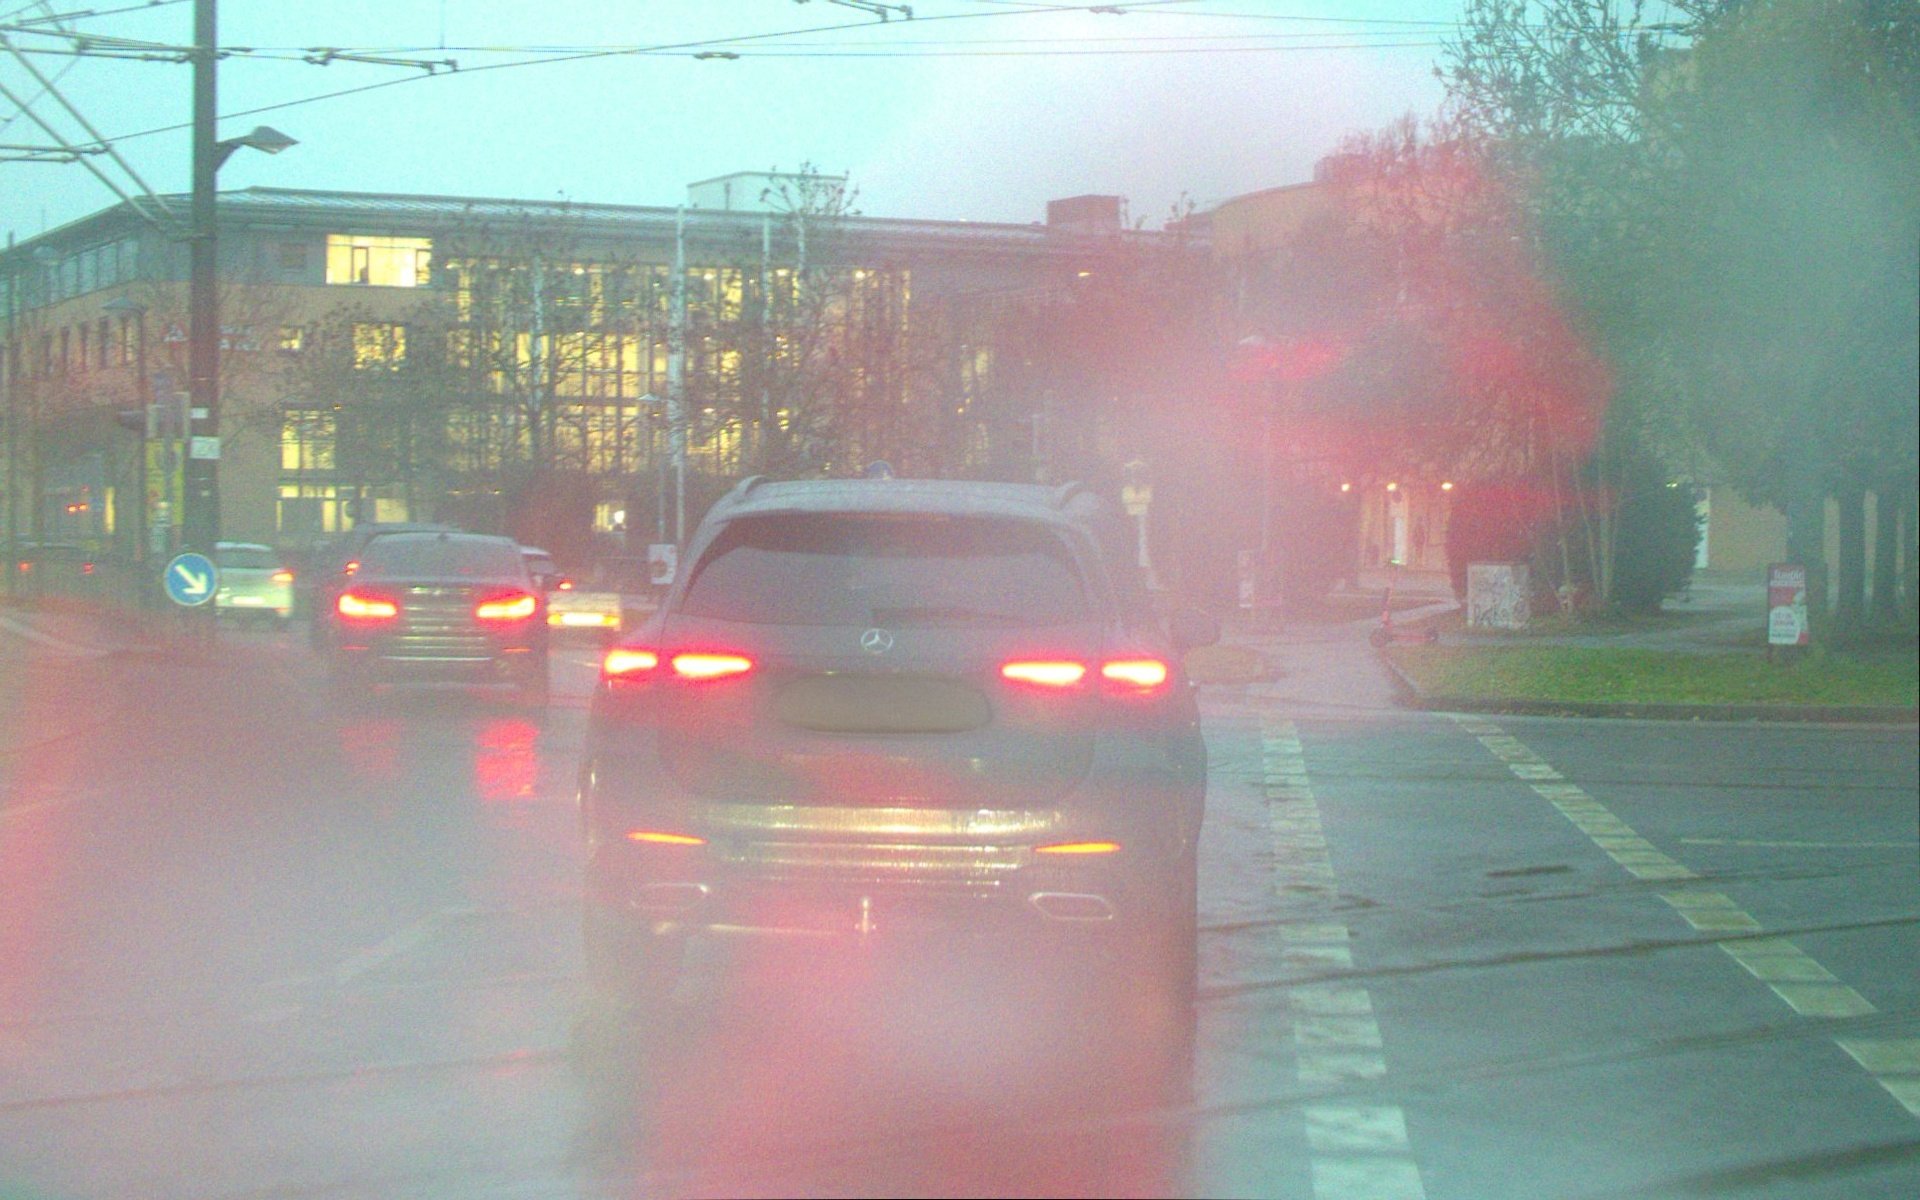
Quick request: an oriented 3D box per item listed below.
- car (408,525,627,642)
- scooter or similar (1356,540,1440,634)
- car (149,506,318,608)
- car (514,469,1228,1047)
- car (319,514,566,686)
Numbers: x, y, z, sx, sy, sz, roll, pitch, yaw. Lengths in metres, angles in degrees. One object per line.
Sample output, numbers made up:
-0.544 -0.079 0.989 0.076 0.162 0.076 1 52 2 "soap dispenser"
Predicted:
-6.571 -0.281 50.732 1.993 1.612 4.001 -1 2 -26 "car"
5.888 -0.182 46.229 1.142 1.227 0.487 -1 2 -42 "scooter or similar"
-12.095 -0.747 57.090 1.993 1.612 4.001 -1 2 -23 "car"
-0.216 0.383 11.593 1.991 1.610 4.000 0 2 1 "car"
-4.462 -0.050 30.109 1.993 1.393 4.001 0 2 -7 "car"
